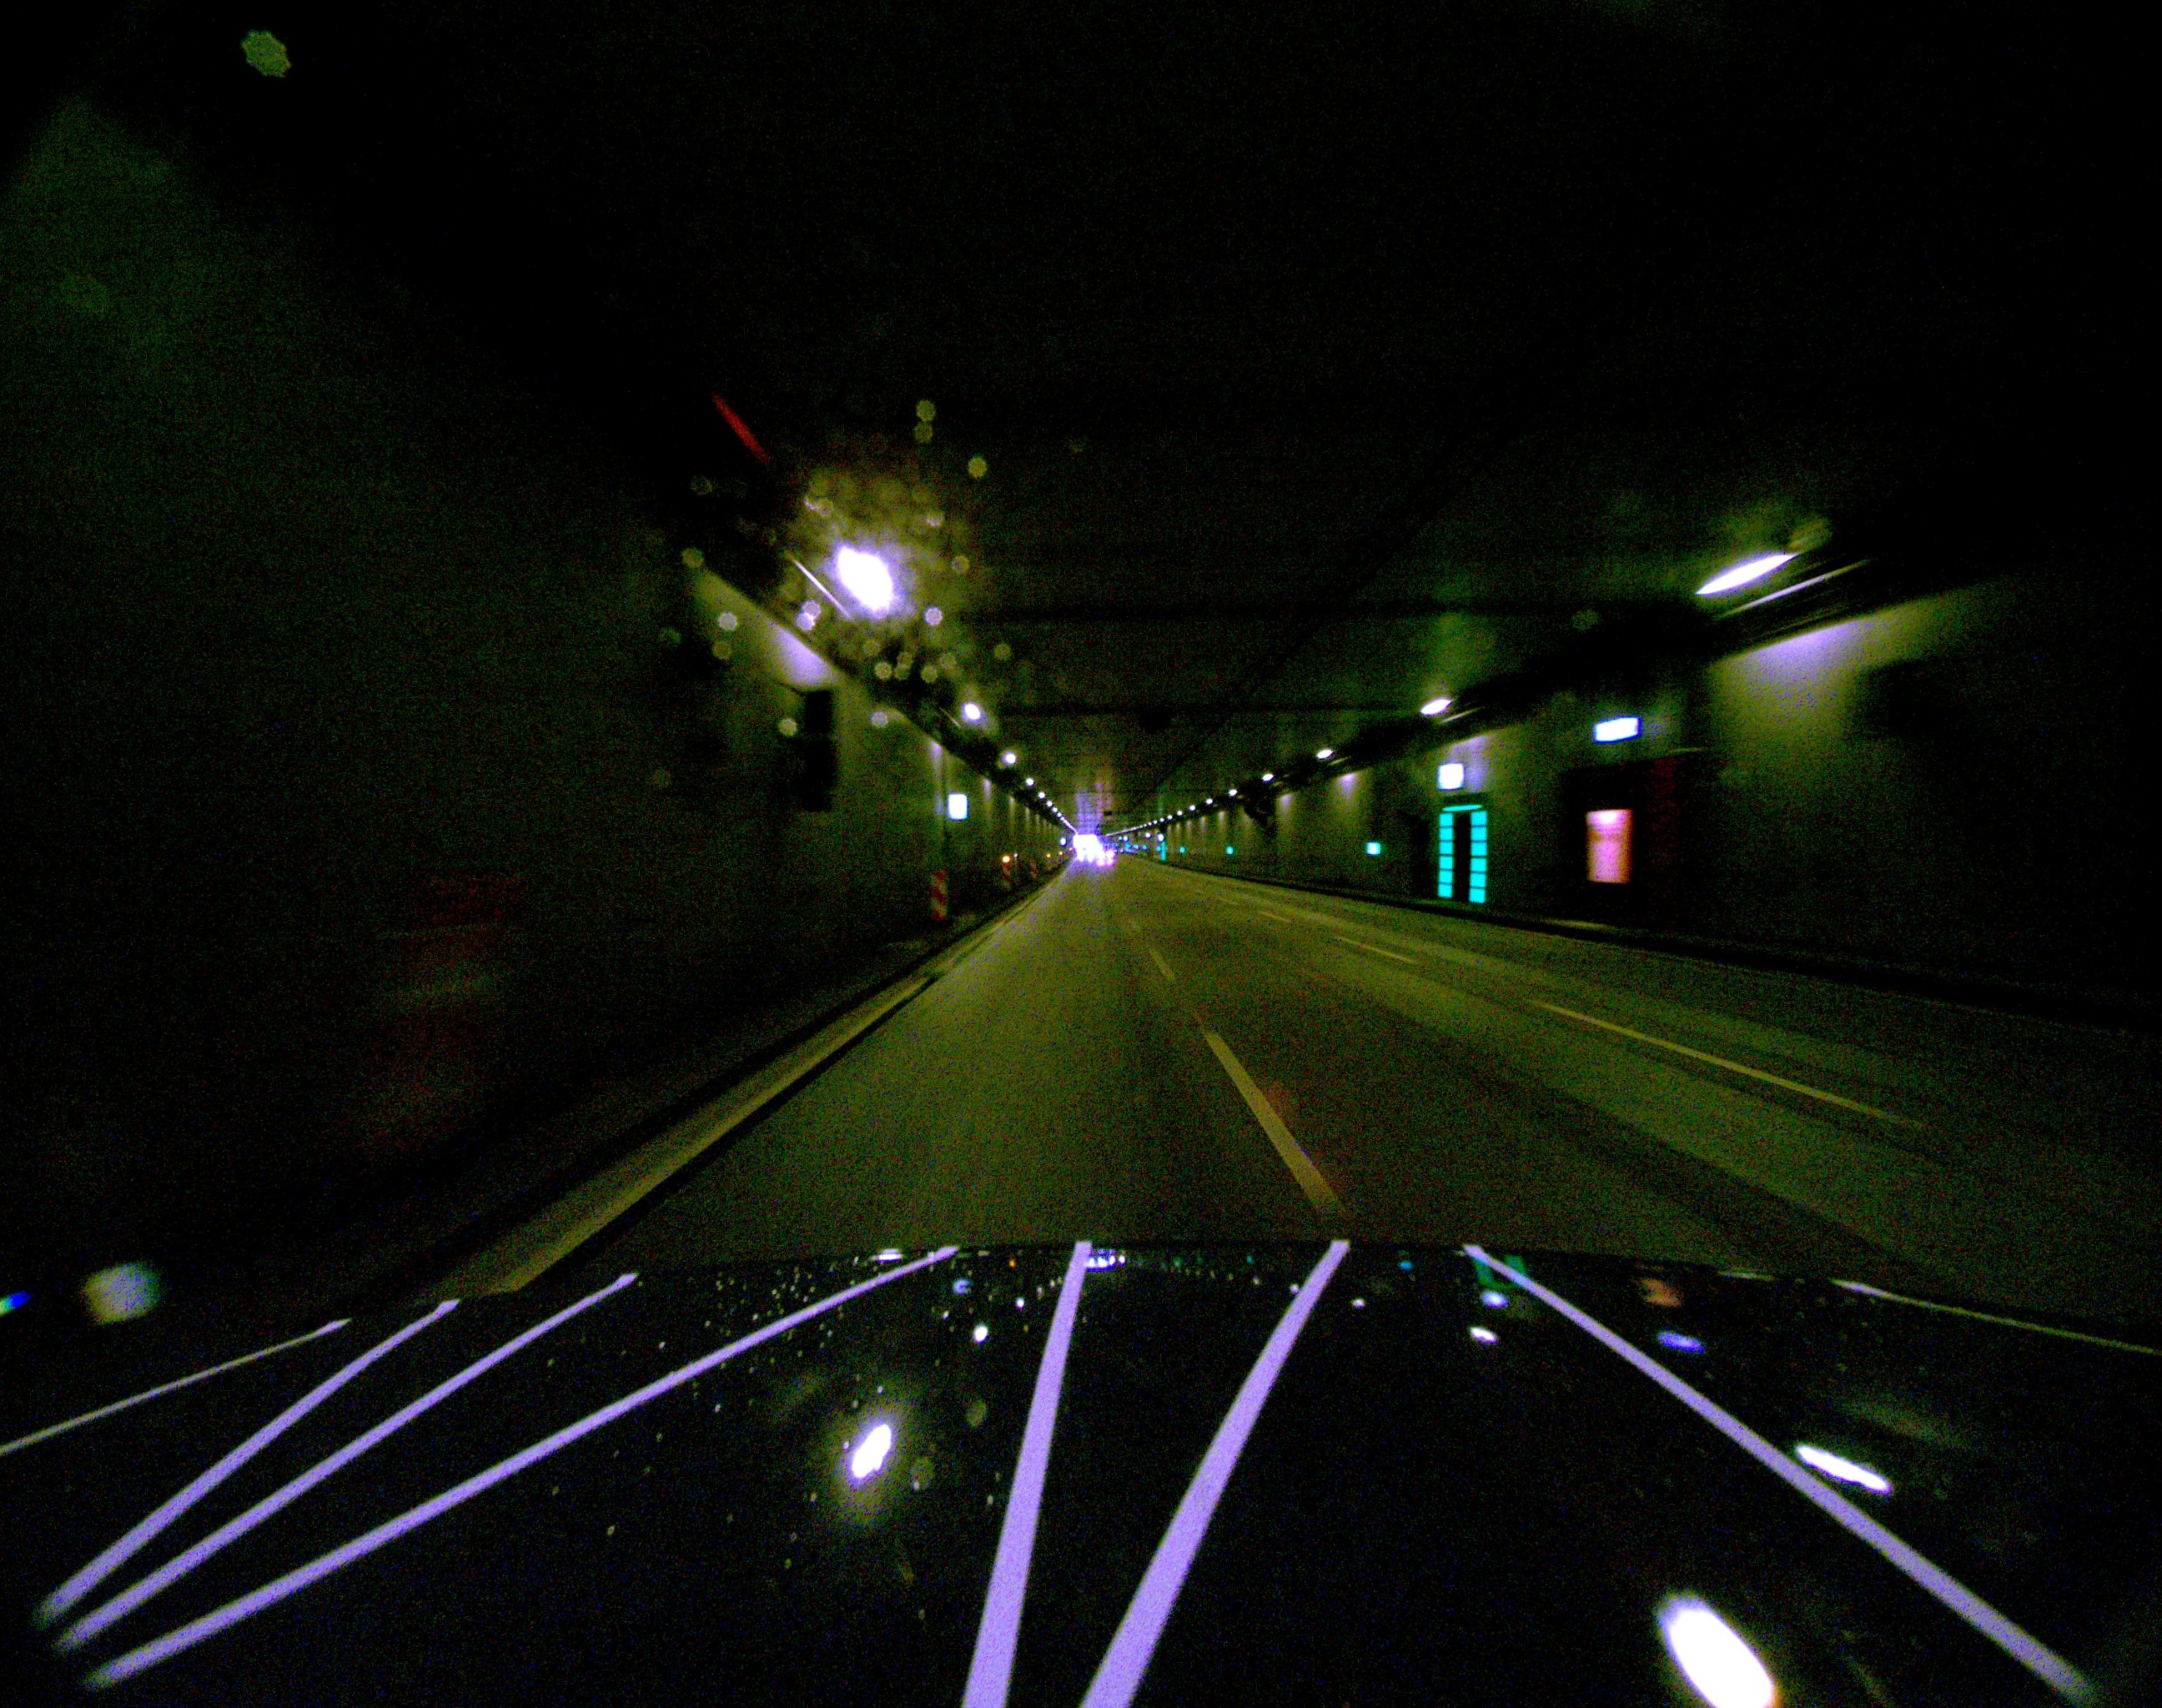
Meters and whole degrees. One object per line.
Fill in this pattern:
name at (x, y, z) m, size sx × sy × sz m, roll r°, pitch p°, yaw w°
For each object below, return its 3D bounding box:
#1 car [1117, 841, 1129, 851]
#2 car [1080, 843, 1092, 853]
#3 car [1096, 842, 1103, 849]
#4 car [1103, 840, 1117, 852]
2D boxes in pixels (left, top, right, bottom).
car at (7.838, -1.499, 142.824) m, size 1.998 × 1.686 × 4.000 m, roll -2°, pitch 0°, yaw 1°
car at (0.919, -1.062, 139.859) m, size 1.998 × 1.686 × 3.999 m, roll -3°, pitch 1°, yaw 1°
car at (5.287, -2.491, 214.503) m, size 1.998 × 1.756 × 3.999 m, roll -3°, pitch 1°, yaw 1°
car at (4.526, -1.194, 118.365) m, size 1.998 × 1.685 × 4.000 m, roll -5°, pitch 0°, yaw 0°
